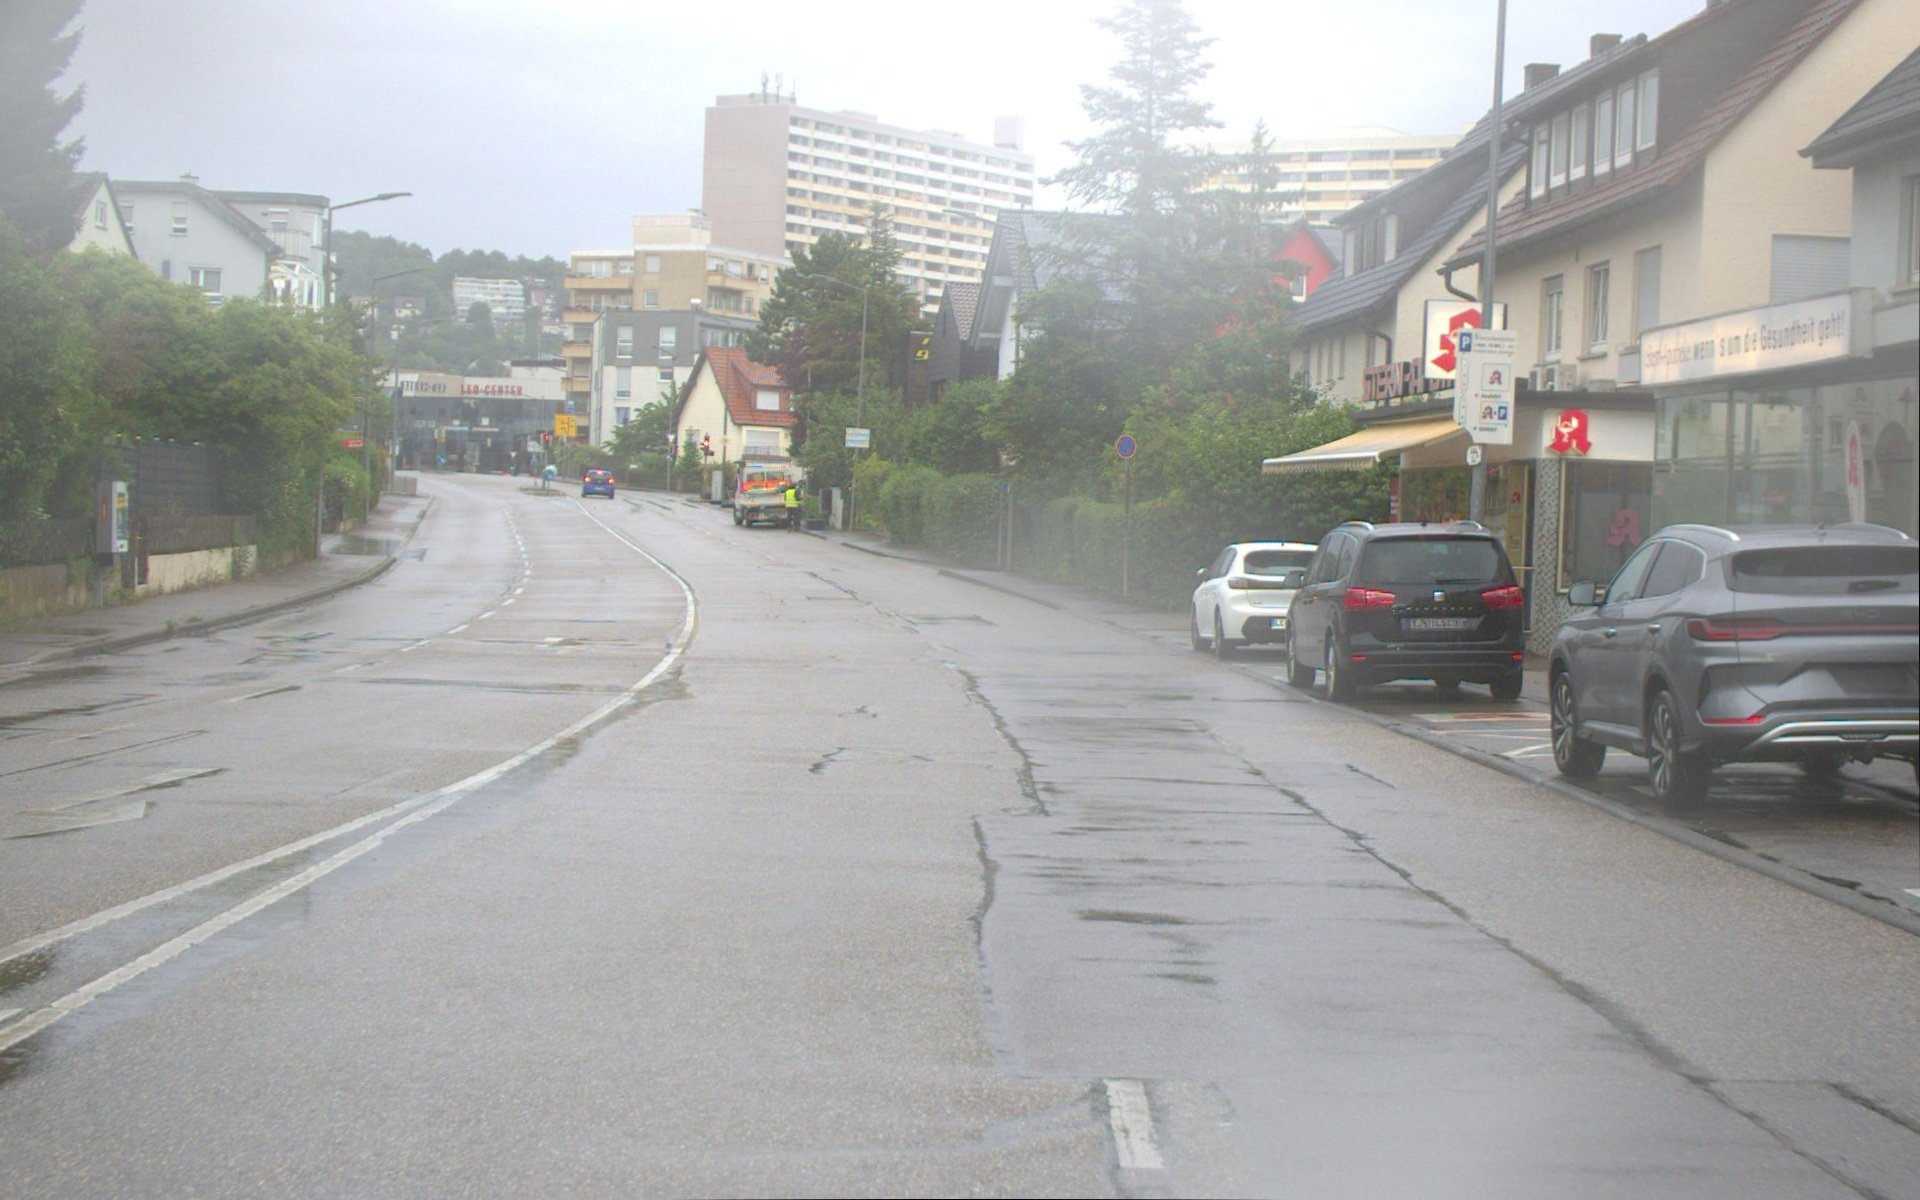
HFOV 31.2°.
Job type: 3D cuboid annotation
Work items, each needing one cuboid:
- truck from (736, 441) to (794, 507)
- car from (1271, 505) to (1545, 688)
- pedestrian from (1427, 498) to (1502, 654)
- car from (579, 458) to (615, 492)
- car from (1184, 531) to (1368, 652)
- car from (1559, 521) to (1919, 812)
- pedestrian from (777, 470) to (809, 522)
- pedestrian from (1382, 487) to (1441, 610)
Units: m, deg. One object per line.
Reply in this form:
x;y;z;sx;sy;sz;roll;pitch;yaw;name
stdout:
-7.104;-4.570;124.735;1.993;2.295;4.001;2;2;-4;truck
4.391;-0.062;34.461;2.035;1.689;4.963;0;1;-1;car
6.193;-0.299;42.206;0.623;1.885;0.646;3;2;33;pedestrian
-18.929;-6.510;179.416;1.794;1.664;4.001;1;1;-6;car
4.009;-0.140;44.225;1.815;1.443;4.204;0;2;-2;car
5.039;0.343;21.728;1.875;1.637;4.792;0;1;3;car
-5.836;-3.642;120.221;0.823;1.791;0.800;1;2;-25;pedestrian
6.222;-0.713;47.353;0.550;1.672;0.517;1;2;-39;pedestrian
